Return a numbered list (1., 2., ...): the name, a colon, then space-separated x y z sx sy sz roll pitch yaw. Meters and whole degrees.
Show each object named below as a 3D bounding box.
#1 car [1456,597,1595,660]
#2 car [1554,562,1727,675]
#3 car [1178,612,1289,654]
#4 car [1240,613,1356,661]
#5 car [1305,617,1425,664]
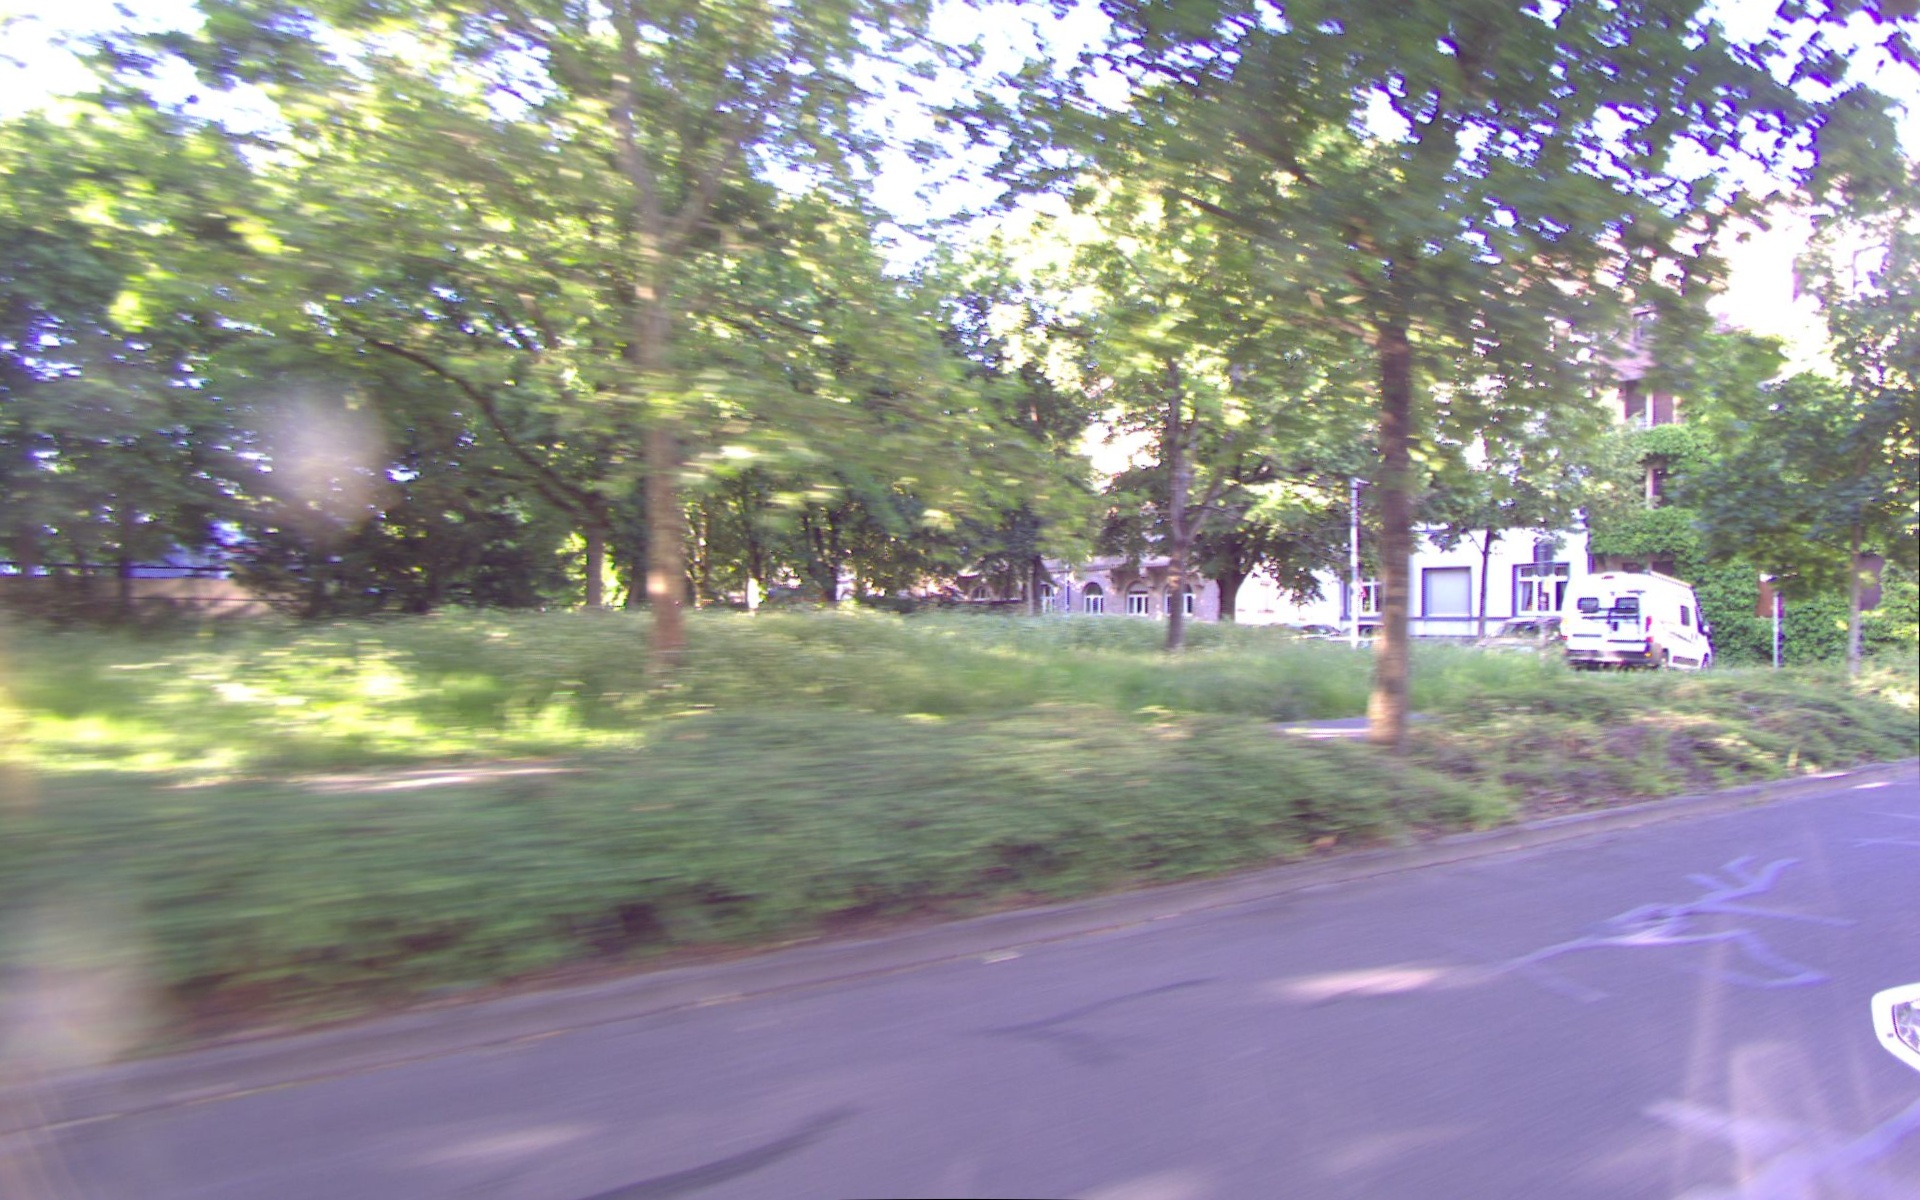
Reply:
1. car: 15.748 0.787 27.892 4.263 1.596 1.956 2 -1 -39
2. car: 17.771 0.488 26.103 5.584 2.649 2.213 2 -1 -39
3. car: 9.756 1.170 35.758 3.848 1.396 1.956 2 -1 -39
4. car: 11.391 1.218 33.797 3.848 1.461 1.956 1 0 -39
5. car: 12.968 1.272 32.095 3.848 1.360 1.956 2 -1 -39
